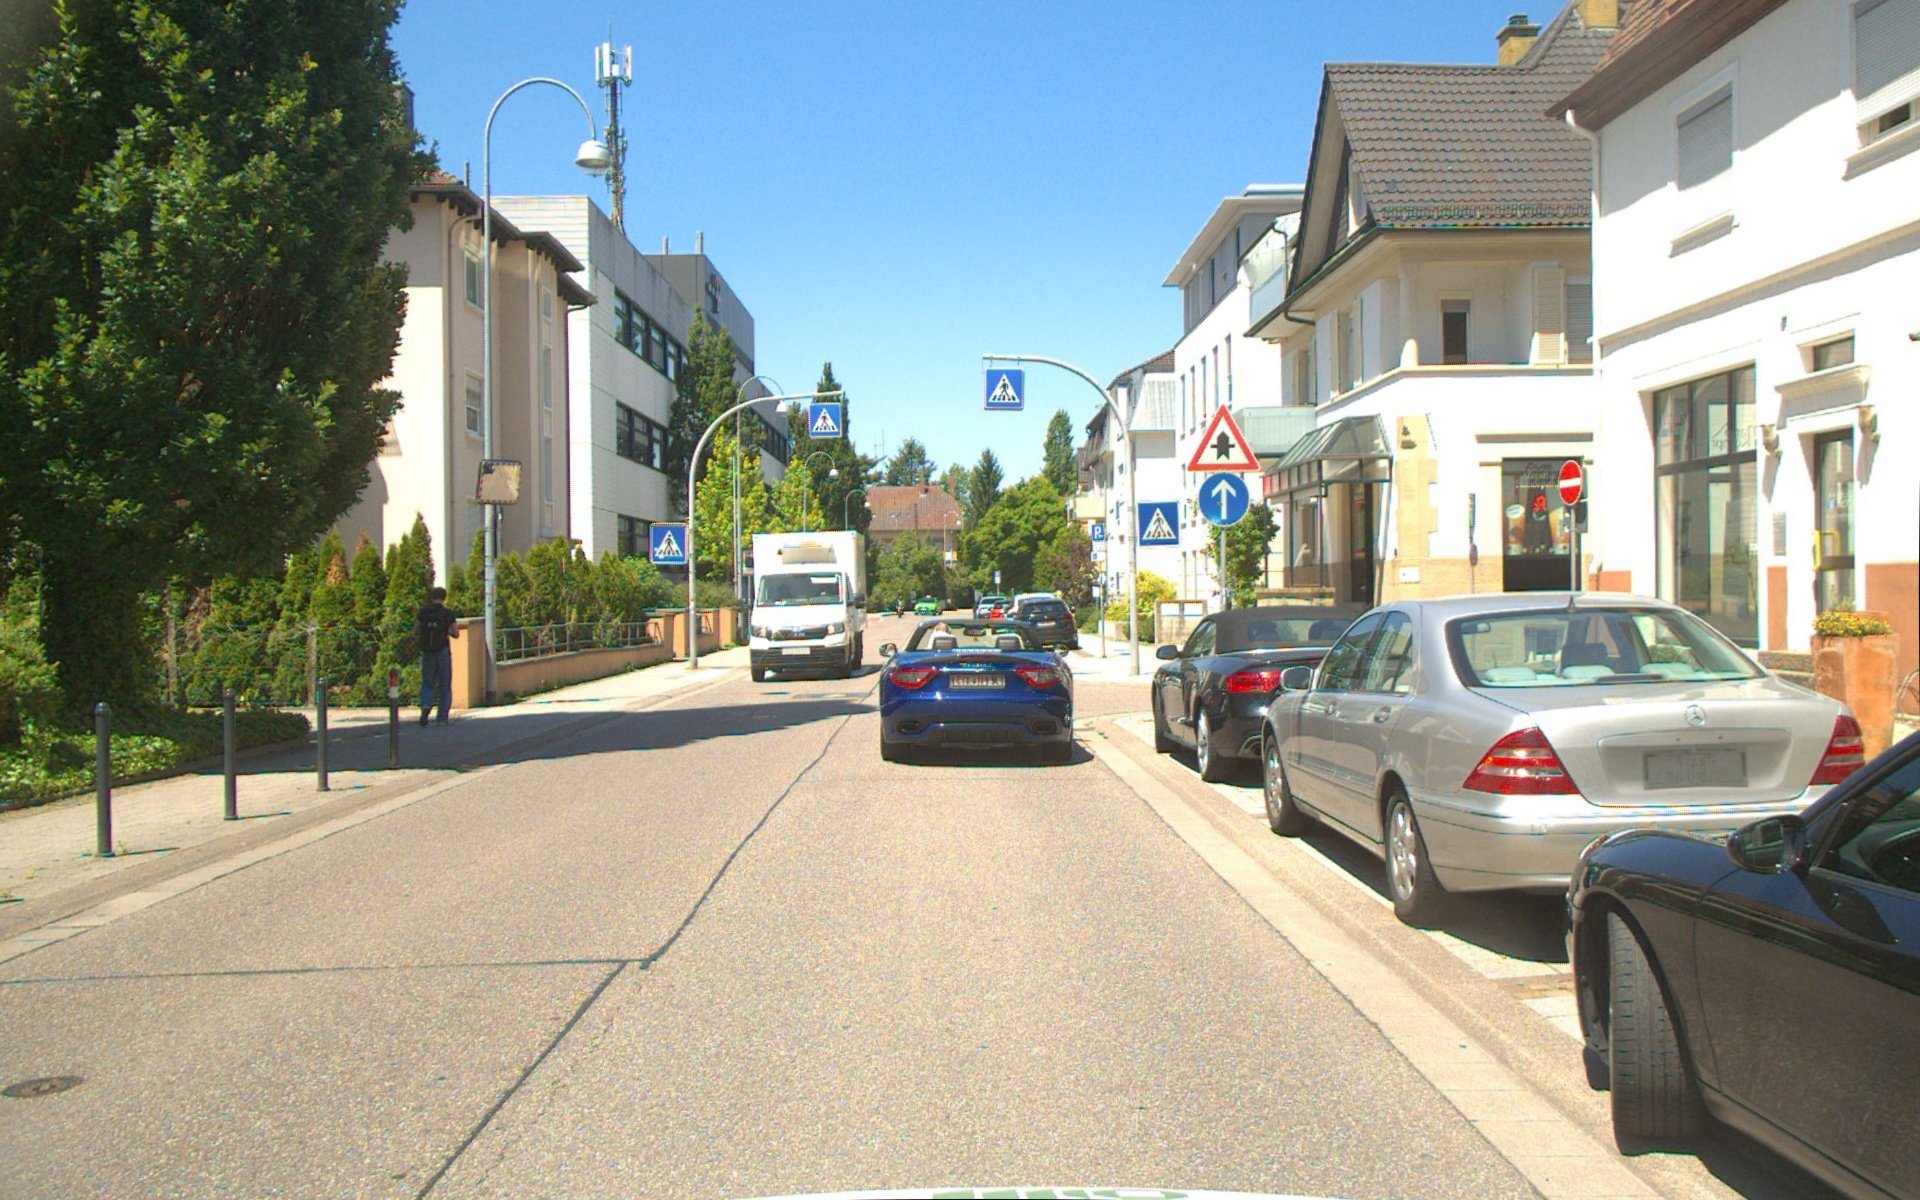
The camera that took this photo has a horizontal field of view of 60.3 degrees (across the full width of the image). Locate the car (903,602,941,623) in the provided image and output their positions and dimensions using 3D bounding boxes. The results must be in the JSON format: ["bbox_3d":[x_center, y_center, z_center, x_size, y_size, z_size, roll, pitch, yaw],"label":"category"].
[{"bbox_3d":[-3.147,1.026,136.258,1.796,1.616,4.075,2,0,-21],"label":"car"}]

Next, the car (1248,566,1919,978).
[{"bbox_3d":[2.879,0.666,8.833,1.708,1.494,4.851,-3,0,-1],"label":"car"}]

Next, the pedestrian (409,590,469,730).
[{"bbox_3d":[-6.523,0.739,20.712,0.525,1.715,0.708,0,0,-1],"label":"pedestrian"}]

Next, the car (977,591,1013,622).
[{"bbox_3d":[1.938,0.347,92.836,1.806,1.647,4.427,-3,0,0],"label":"car"}]

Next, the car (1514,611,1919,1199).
[{"bbox_3d":[2.624,0.739,3.308,1.526,1.364,4.172,-2,0,-1],"label":"car"}]

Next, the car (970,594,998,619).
[{"bbox_3d":[1.537,0.406,107.521,1.599,1.471,4.397,-3,0,-1],"label":"car"}]

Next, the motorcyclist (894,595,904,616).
[{"bbox_3d":[-4.481,0.399,121.653,0.684,1.458,0.707,-2,0,-1],"label":"motorcyclist"}]

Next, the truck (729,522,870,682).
[{"bbox_3d":[-3.276,0.033,35.073,2.370,3.035,6.257,-1,0,-1],"label":"truck"}]

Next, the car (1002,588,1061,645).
[{"bbox_3d":[2.327,0.501,54.822,1.670,1.695,4.580,-3,1,0],"label":"car"}]

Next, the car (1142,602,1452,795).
[{"bbox_3d":[2.841,0.754,15.009,1.789,1.452,4.699,-1,0,-1],"label":"car"}]

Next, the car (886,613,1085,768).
[{"bbox_3d":[0.208,0.835,17.260,1.789,1.360,4.699,0,0,-1],"label":"car"}]

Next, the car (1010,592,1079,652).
[{"bbox_3d":[2.429,0.601,48.292,1.670,1.583,4.747,-3,0,0],"label":"car"}]

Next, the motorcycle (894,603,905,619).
[{"bbox_3d":[-4.472,0.779,121.764,0.684,1.126,1.790,-2,0,0],"label":"motorcycle"}]

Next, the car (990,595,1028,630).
[{"bbox_3d":[2.211,0.552,75.897,1.571,1.466,3.853,-4,0,1],"label":"car"}]
